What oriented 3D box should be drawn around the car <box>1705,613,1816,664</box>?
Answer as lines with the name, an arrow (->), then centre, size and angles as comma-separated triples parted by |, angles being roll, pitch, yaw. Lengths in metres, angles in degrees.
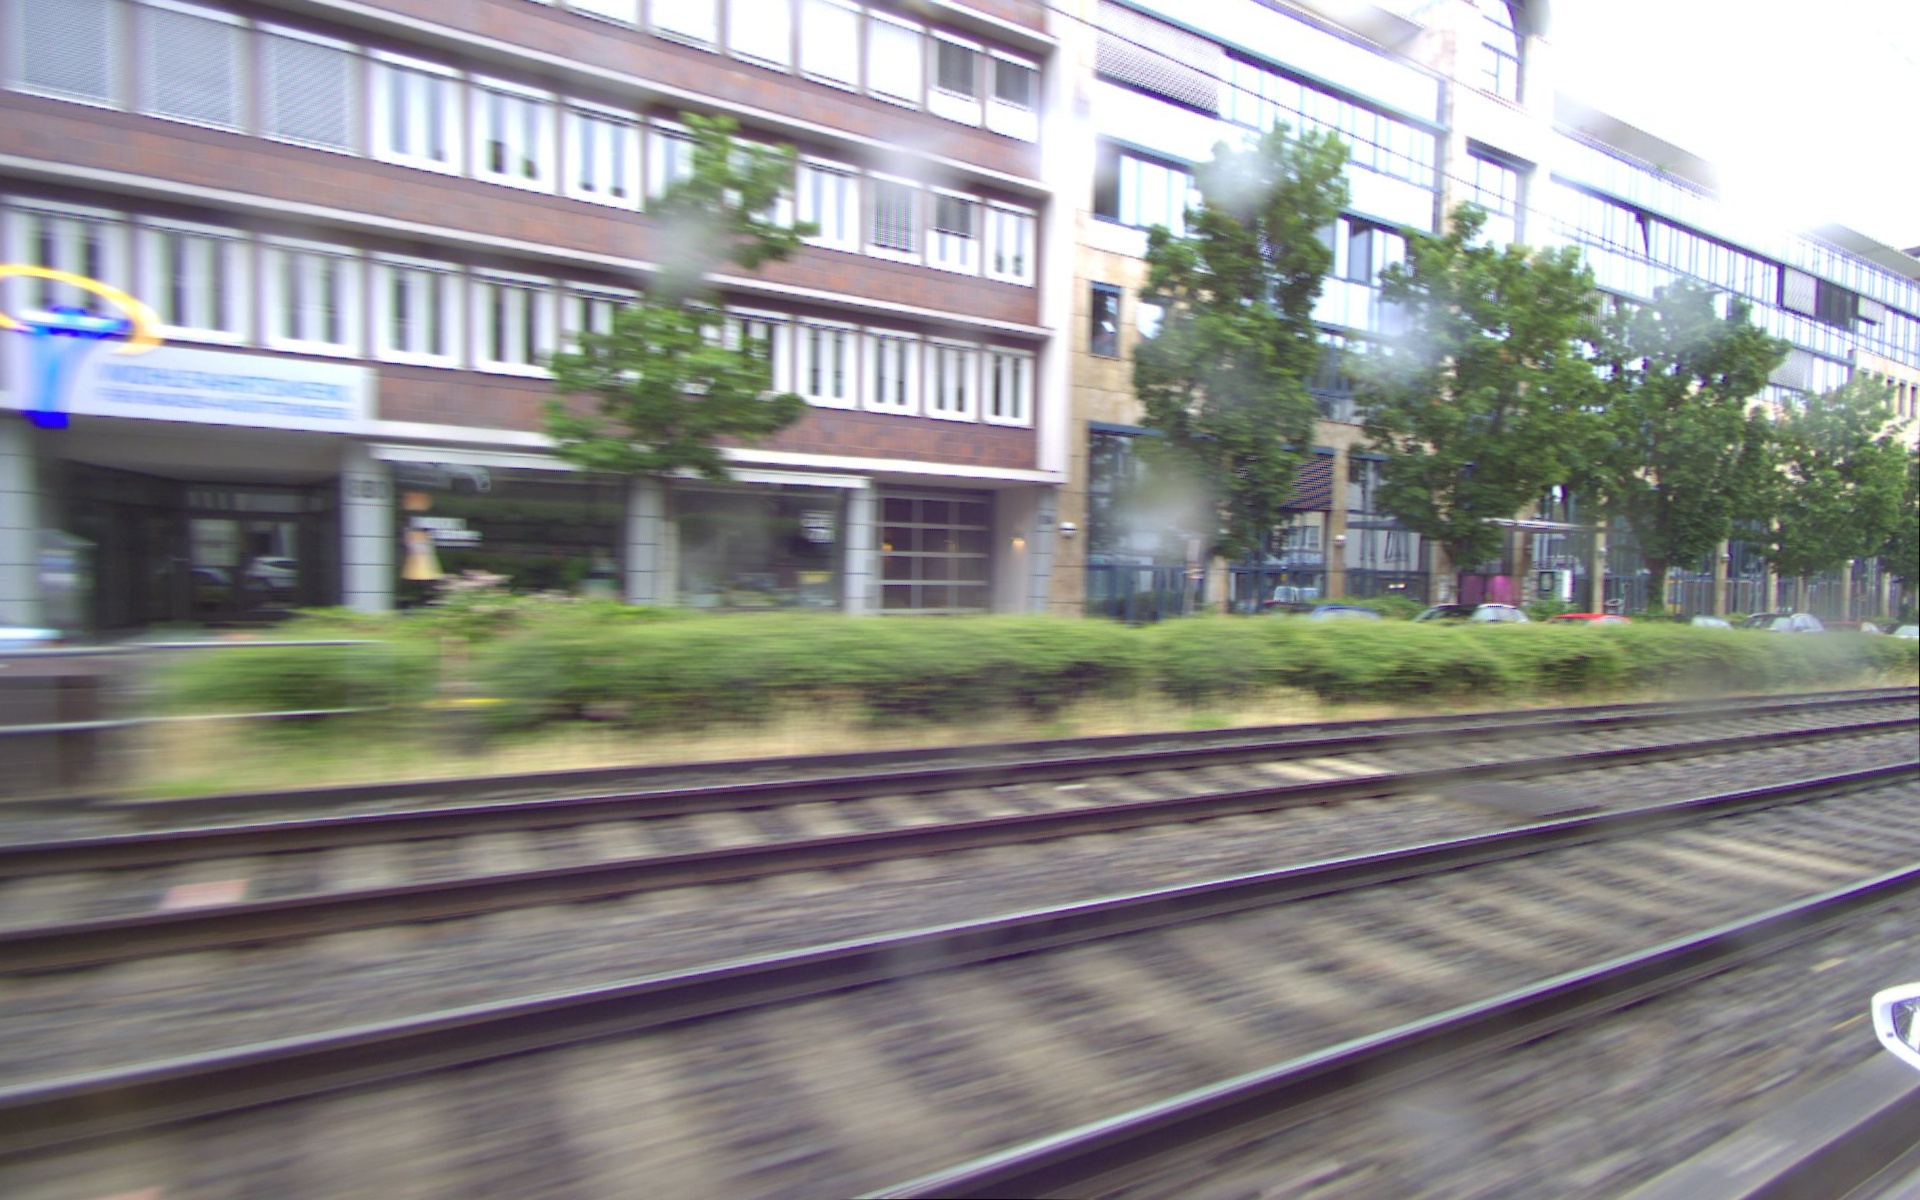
car -> 25.343, 1.204, 31.756 | 4.134, 1.455, 1.558 | 2, 0, -34

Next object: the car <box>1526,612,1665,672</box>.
car -> 16.890, 1.099, 26.643 | 4.134, 1.455, 1.558 | 2, 0, -34

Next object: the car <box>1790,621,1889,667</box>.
car -> 30.530, 1.500, 34.835 | 4.134, 1.455, 1.558 | 2, 0, -34

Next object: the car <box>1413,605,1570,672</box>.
car -> 12.785, 0.910, 24.096 | 4.134, 1.455, 1.558 | 2, 0, -34

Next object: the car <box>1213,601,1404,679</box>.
car -> 7.281, 0.809, 20.864 | 4.134, 1.455, 1.558 | 2, 0, -34

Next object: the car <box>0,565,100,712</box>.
car -> -11.191, 0.327, 9.729 | 4.134, 1.455, 1.558 | 2, 0, -34

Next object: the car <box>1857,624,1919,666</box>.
car -> 35.297, 1.668, 37.624 | 4.134, 1.455, 1.558 | 2, 0, -34
